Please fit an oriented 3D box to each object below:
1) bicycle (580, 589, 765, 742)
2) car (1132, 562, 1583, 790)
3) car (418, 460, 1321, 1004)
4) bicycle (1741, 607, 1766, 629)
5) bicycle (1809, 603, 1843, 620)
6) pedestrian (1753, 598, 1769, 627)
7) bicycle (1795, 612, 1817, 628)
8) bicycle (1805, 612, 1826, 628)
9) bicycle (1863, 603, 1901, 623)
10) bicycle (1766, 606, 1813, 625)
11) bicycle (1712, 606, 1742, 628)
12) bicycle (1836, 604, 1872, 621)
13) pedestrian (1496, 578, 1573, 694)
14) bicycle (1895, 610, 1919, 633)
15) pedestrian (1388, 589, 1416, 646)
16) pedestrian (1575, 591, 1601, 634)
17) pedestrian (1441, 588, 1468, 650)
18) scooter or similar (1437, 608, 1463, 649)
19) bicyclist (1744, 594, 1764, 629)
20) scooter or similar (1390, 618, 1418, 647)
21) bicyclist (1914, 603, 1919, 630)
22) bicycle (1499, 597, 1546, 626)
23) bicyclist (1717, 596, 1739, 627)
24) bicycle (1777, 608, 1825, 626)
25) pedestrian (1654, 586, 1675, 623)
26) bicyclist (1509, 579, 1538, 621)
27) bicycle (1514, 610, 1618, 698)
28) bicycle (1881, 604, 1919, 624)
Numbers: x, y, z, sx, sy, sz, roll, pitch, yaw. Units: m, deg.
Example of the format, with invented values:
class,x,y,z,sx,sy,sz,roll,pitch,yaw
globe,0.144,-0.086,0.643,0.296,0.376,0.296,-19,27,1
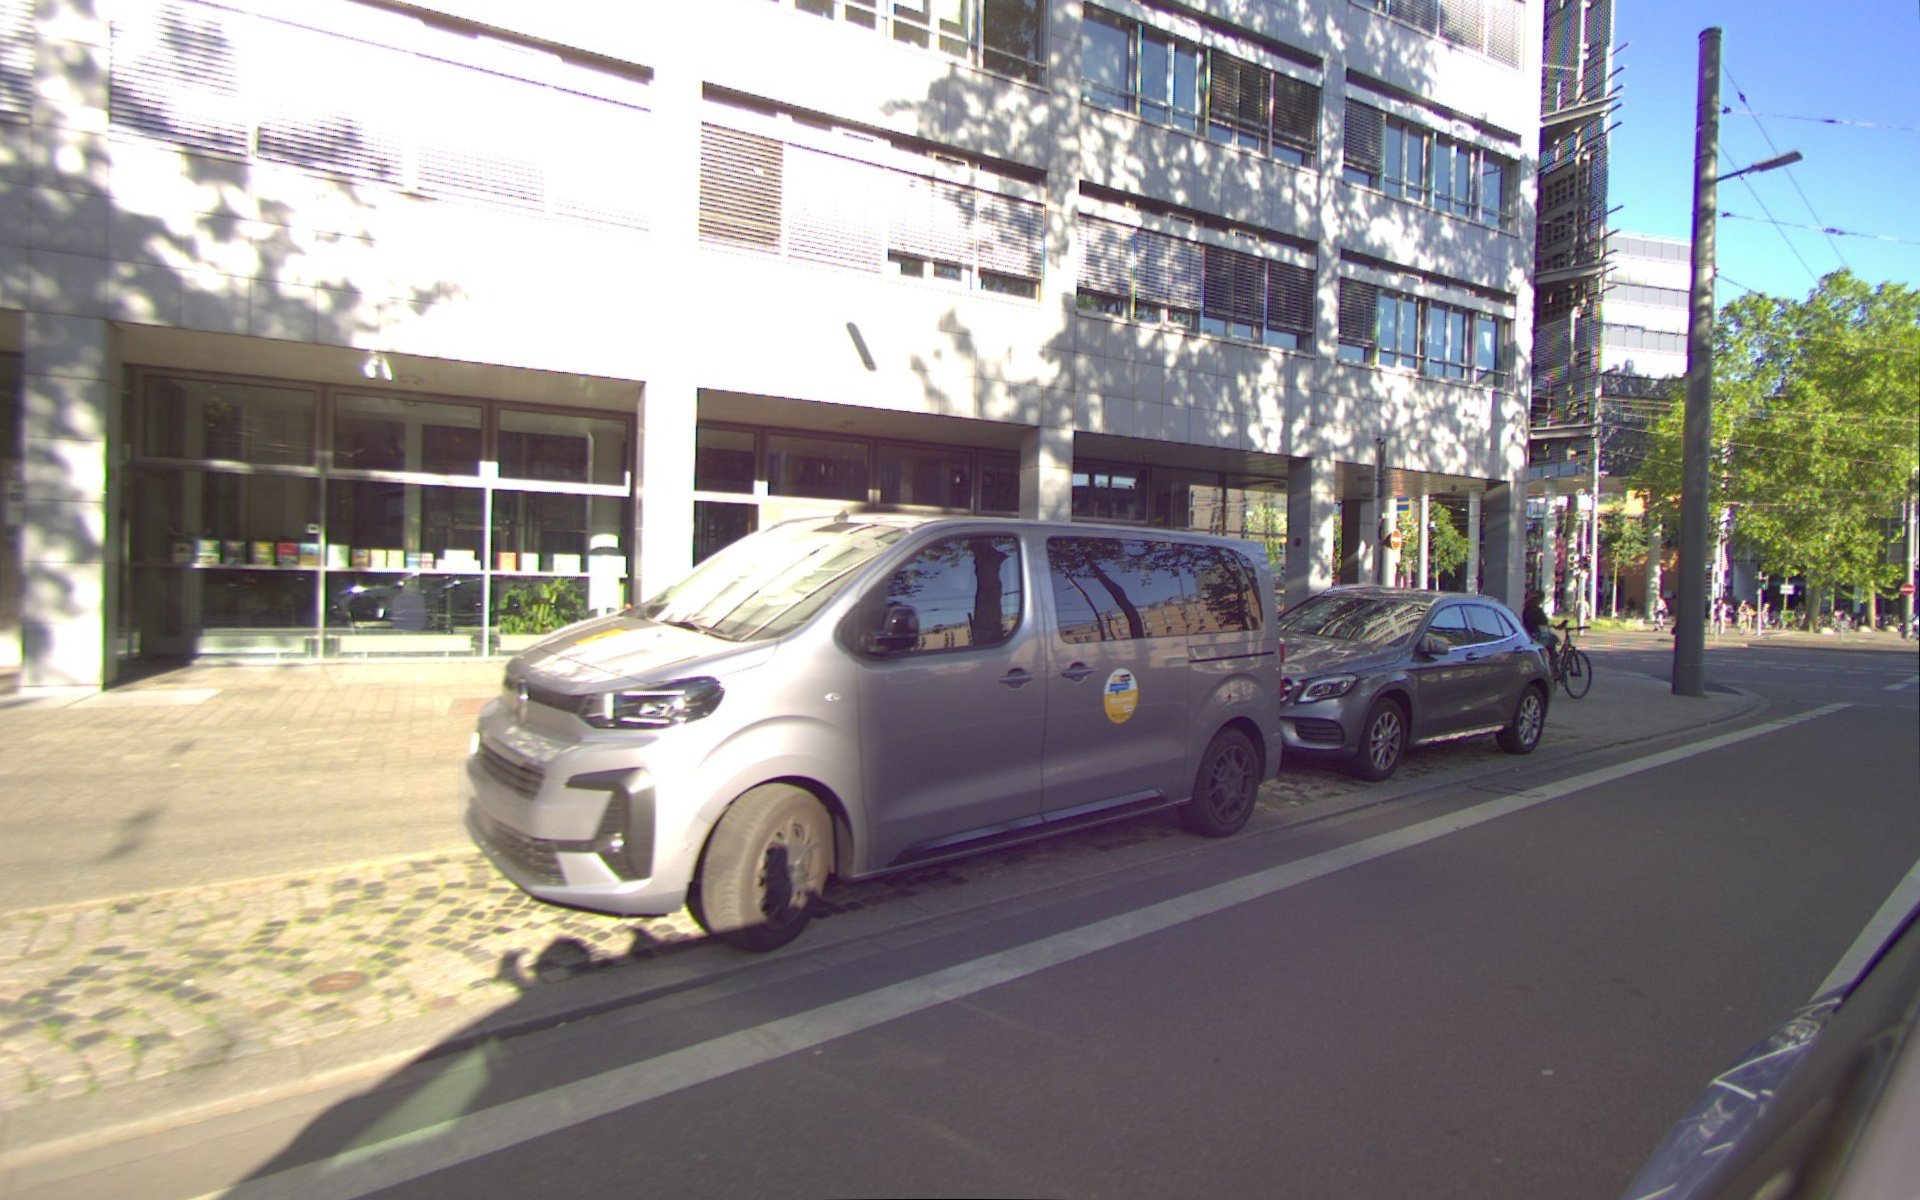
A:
class,x,y,z,sx,sy,sz,roll,pitch,yaw
bicycle,-2.474,0.490,8.565,0.728,1.115,1.869,1,1,-43
car,3.838,0.550,9.473,4.332,1.591,1.866,1,4,-37
car,-0.162,0.393,5.754,4.837,1.865,1.927,0,4,-40
bicycle,39.469,0.877,50.328,1.824,1.034,0.516,0,1,-37
bicycle,61.760,0.818,72.190,0.867,1.105,2.912,3,2,21
pedestrian,45.416,0.700,57.383,0.647,1.602,0.489,1,1,-38
bicycle,53.084,1.235,63.491,1.676,0.998,0.391,1,1,-28
bicycle,53.300,1.245,63.059,1.676,0.998,0.391,1,1,-28
bicycle,62.983,0.878,69.184,0.867,1.250,2.912,3,2,21
bicycle,58.392,1.074,71.284,0.861,1.105,2.934,2,2,0
bicycle,37.216,0.837,49.095,1.599,1.034,0.517,0,1,-28
bicycle,62.968,0.870,71.302,0.867,1.105,2.912,3,2,21
pedestrian,8.559,0.526,15.085,0.822,1.630,0.606,2,3,-38
bicycle,51.080,1.178,52.846,1.024,1.147,3.179,1,1,-37
pedestrian,13.050,0.506,29.883,0.651,1.621,0.700,2,0,18
pedestrian,27.473,0.532,44.269,0.869,1.846,0.677,-1,1,-36
pedestrian,14.013,0.528,28.684,0.574,1.730,0.634,2,1,19
scooter or similar,14.273,0.816,29.481,0.543,1.143,1.012,2,1,20
bicyclist,39.520,0.546,50.366,0.731,1.716,0.570,0,1,-36
scooter or similar,12.826,0.929,29.257,0.651,0.800,0.614,2,0,18
bicyclist,51.055,0.883,52.910,1.024,1.398,1.563,1,1,-37
bicycle,23.578,0.485,42.431,1.672,1.121,0.637,2,1,32
bicyclist,37.253,0.555,49.093,0.730,1.521,0.571,1,1,-29
bicycle,59.311,1.204,71.405,0.861,1.105,2.934,2,2,0
pedestrian,36.369,0.246,52.261,0.688,1.860,0.516,2,0,-6
bicyclist,23.608,-0.005,42.415,0.986,1.688,0.758,2,1,31
bicycle,8.945,0.779,14.907,1.814,1.177,0.613,2,3,-38
bicycle,63.943,0.917,68.816,0.867,1.250,2.912,3,2,21
